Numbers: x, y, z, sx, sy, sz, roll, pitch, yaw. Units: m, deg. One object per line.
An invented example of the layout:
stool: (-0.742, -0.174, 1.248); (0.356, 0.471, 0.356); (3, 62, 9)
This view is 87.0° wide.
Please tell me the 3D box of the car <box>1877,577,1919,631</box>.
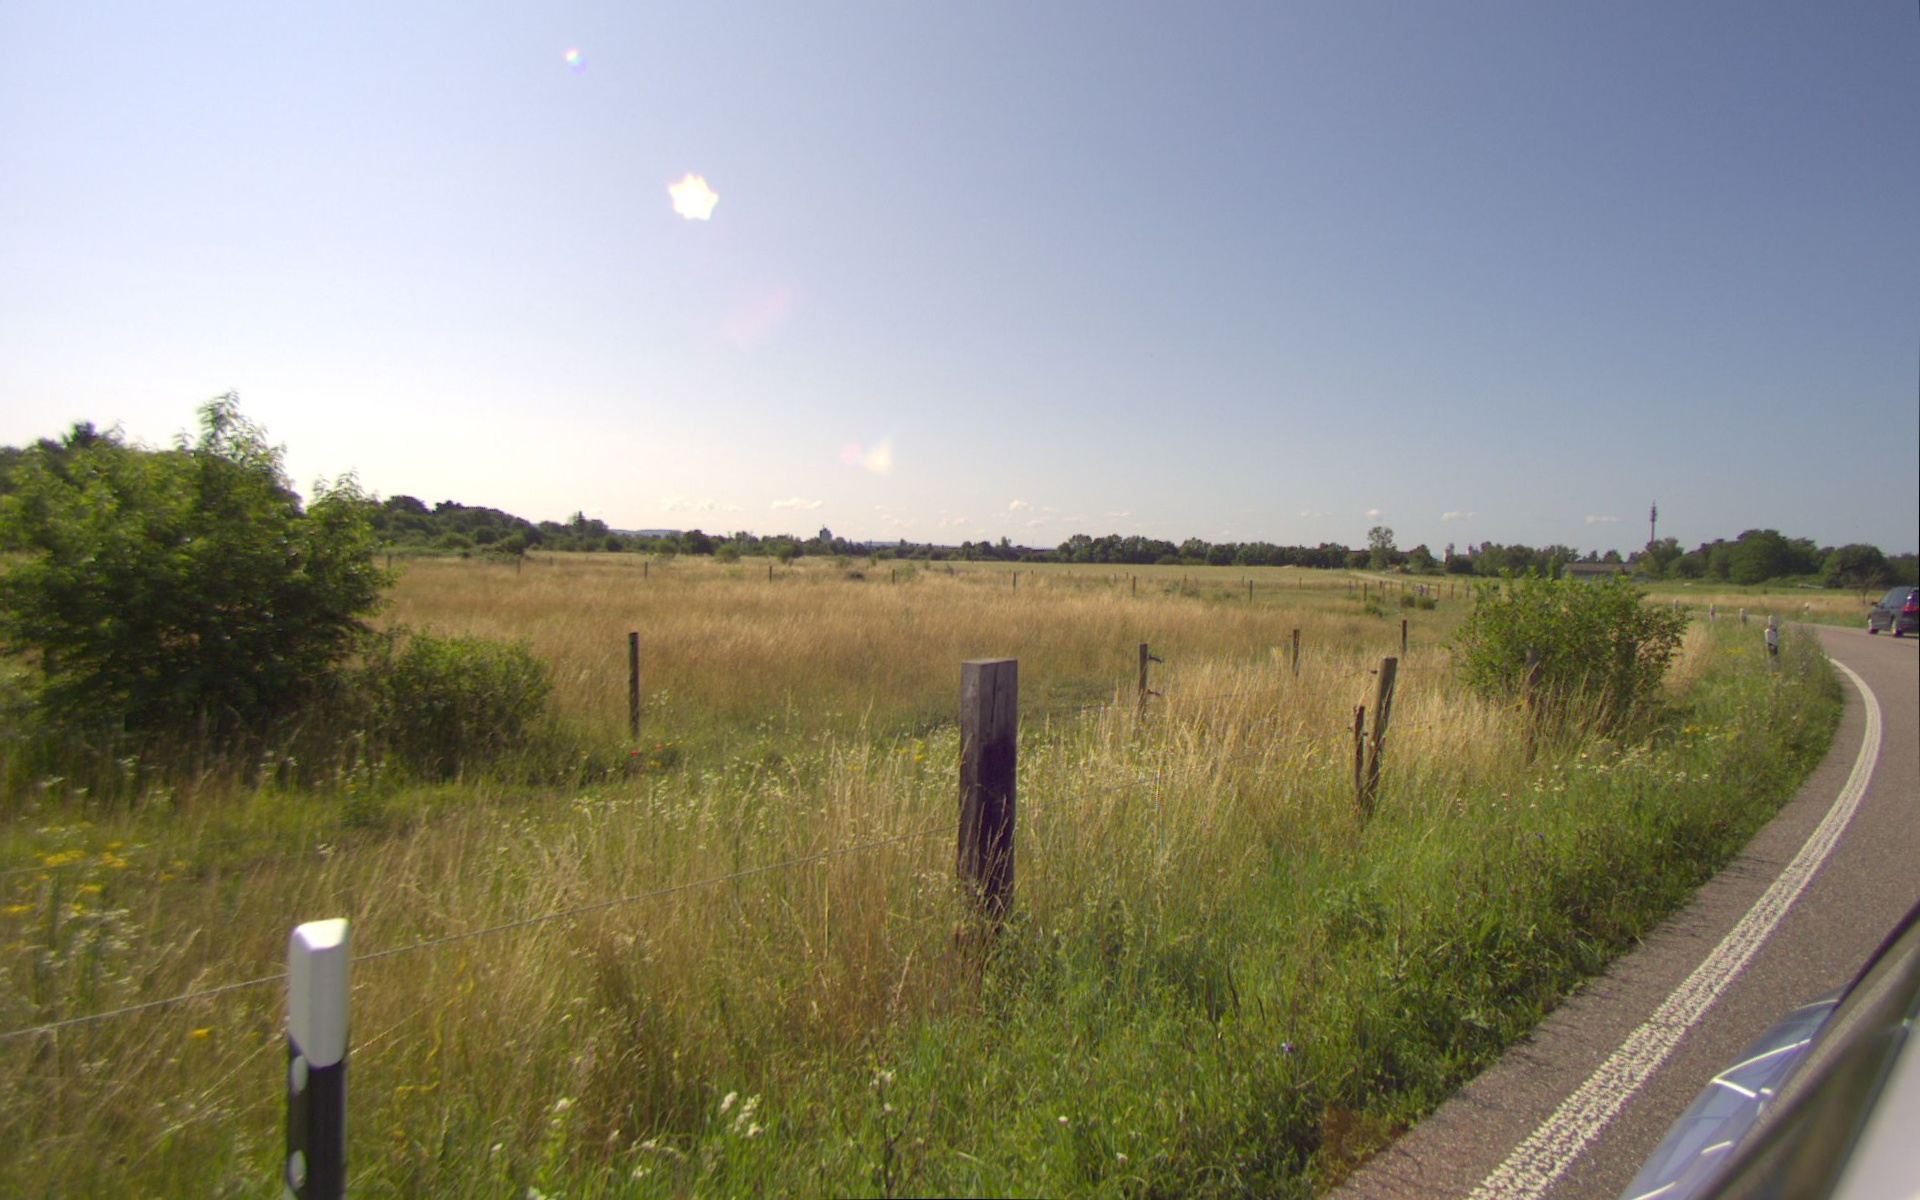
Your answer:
car: (31.280, 0.164, 32.626); (1.776, 1.652, 4.113); (3, 1, 32)
